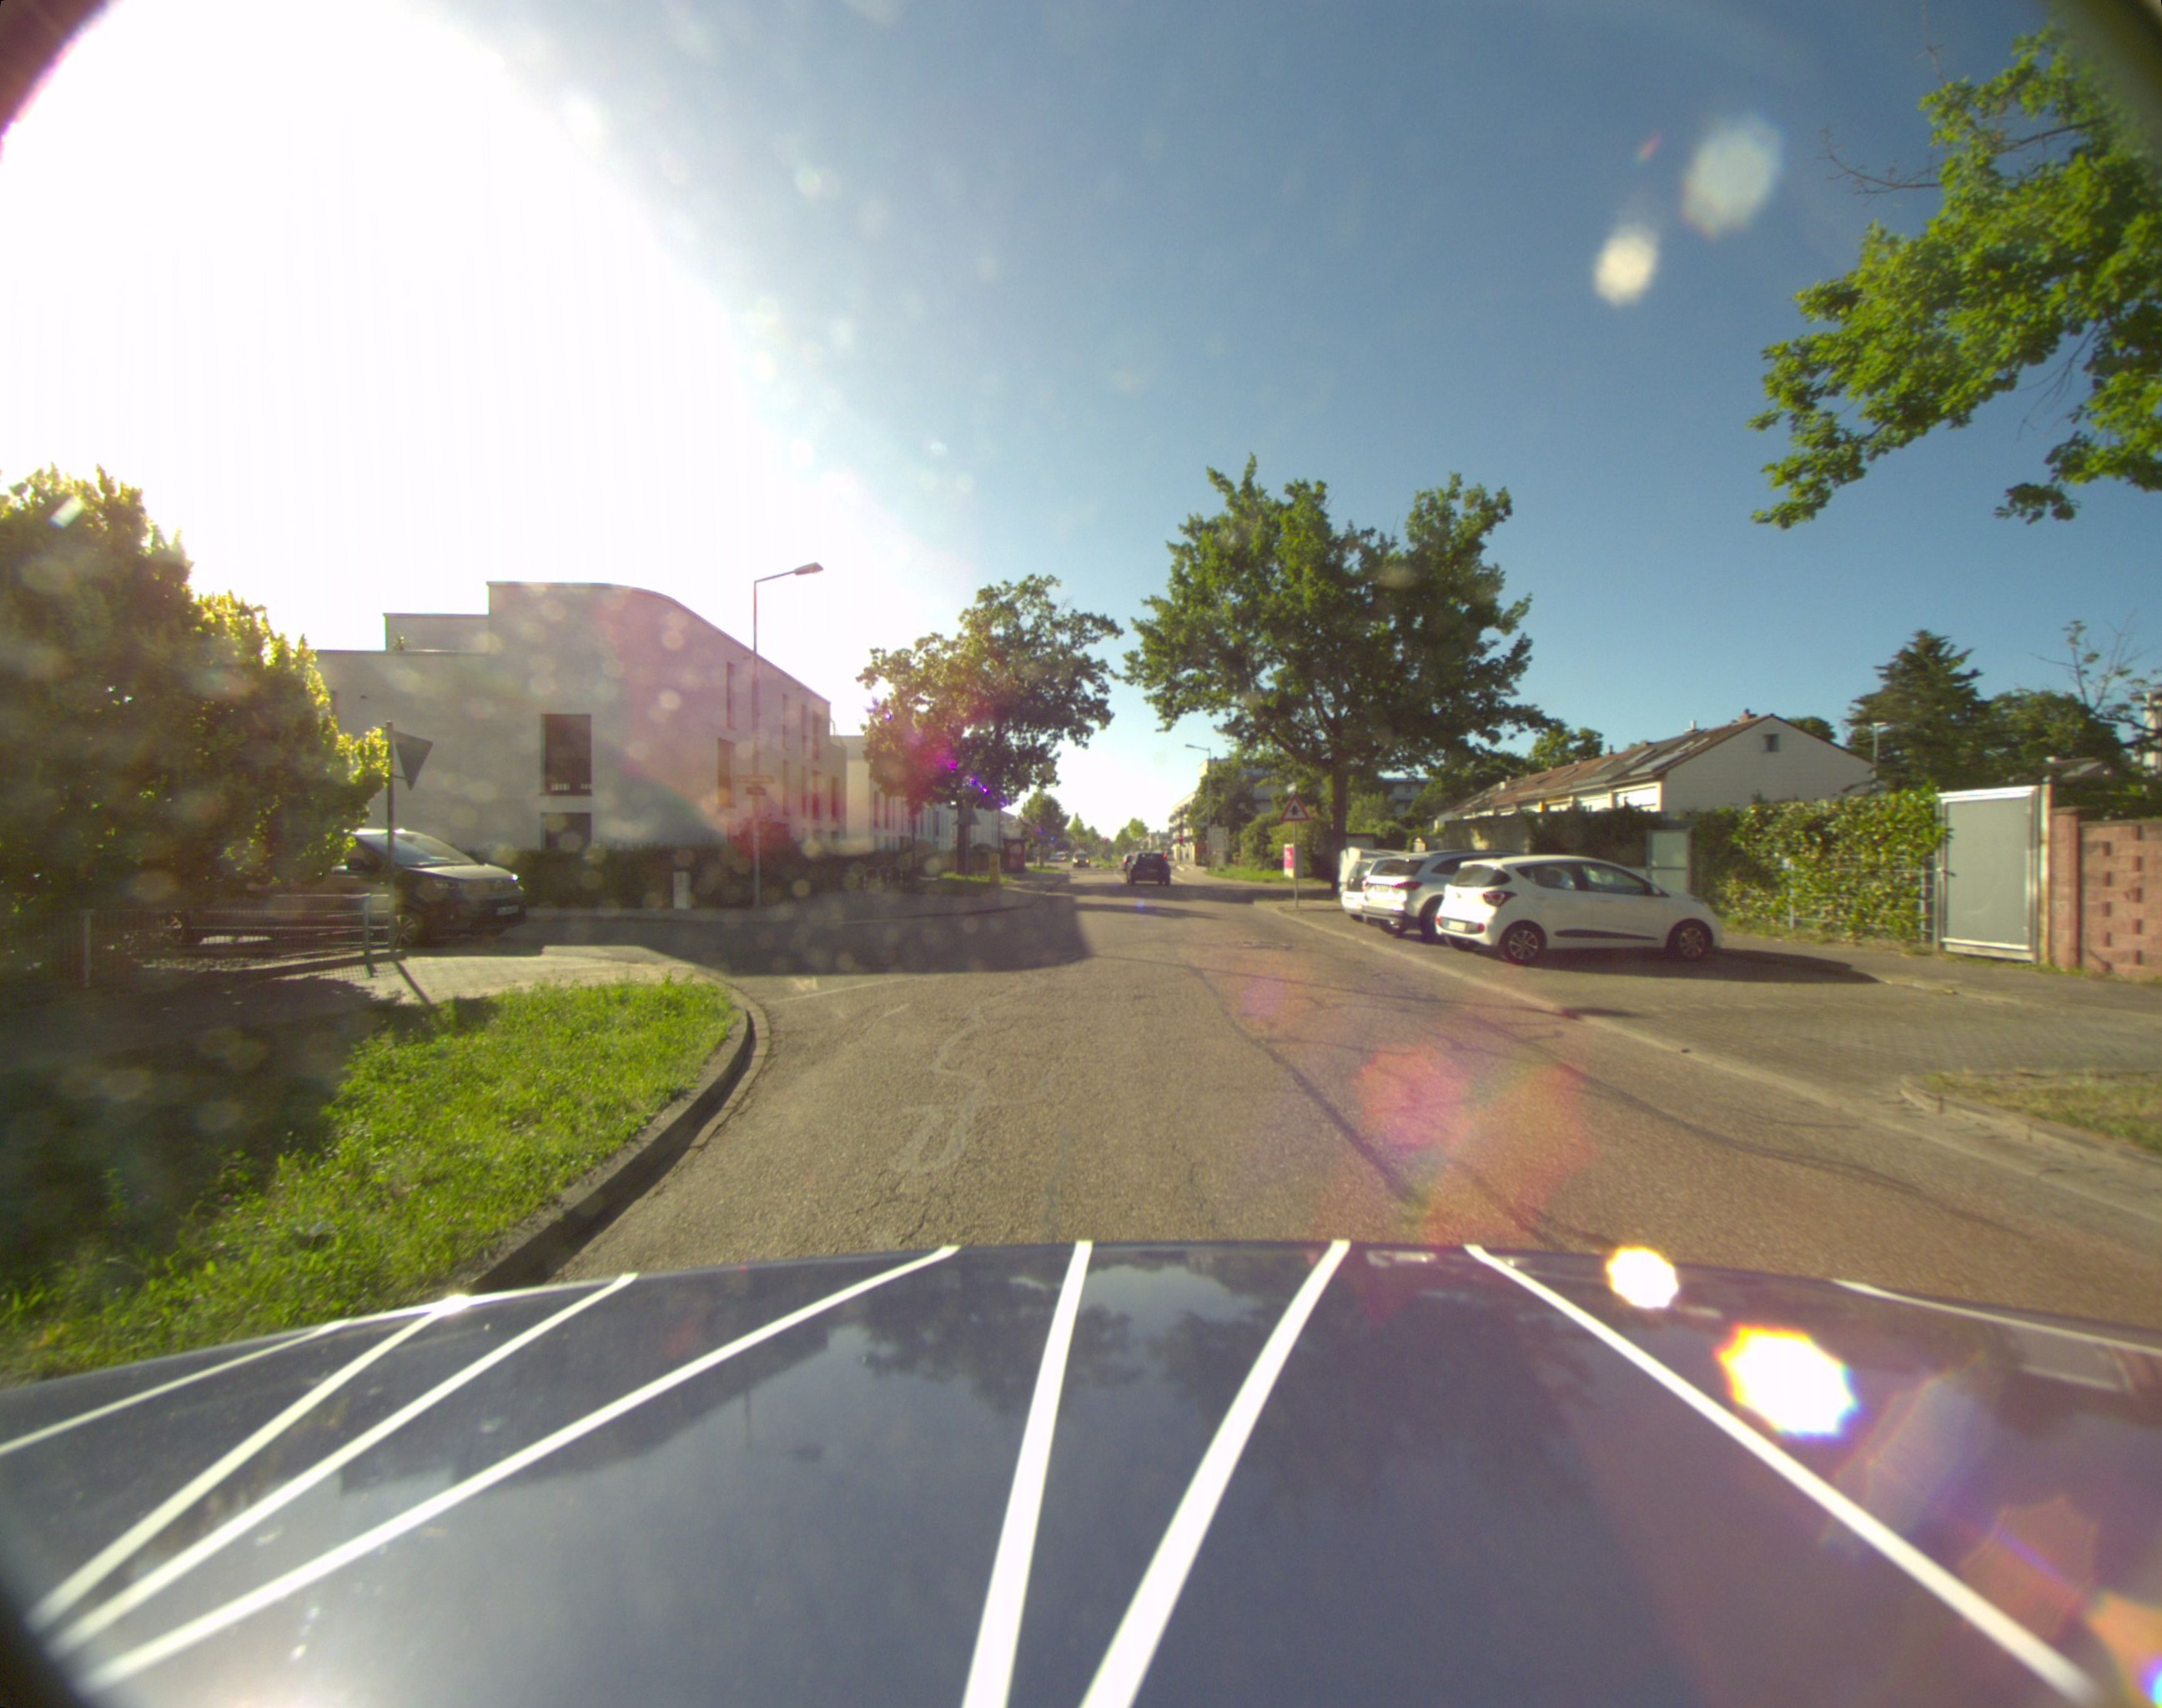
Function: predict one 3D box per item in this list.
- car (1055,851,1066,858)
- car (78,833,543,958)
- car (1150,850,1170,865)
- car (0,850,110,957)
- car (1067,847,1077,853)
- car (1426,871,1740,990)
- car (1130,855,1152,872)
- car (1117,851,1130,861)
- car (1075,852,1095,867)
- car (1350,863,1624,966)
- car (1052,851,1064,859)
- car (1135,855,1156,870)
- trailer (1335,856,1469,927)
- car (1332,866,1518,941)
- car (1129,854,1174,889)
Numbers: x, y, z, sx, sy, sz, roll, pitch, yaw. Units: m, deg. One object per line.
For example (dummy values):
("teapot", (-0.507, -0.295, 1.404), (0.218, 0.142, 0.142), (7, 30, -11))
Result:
("car", (-3.845, 0.030, 142.576), (1.830, 1.324, 3.678), (1, 1, 4))
("car", (-11.900, 0.597, 12.085), (5.208, 1.805, 1.912), (0, 2, -4))
("car", (8.112, 0.318, 78.110), (1.765, 1.469, 3.851), (-2, 0, 2))
("car", (-18.001, 0.730, 11.697), (3.558, 1.594, 1.912), (0, 1, -1))
("car", (-1.940, -0.835, 160.329), (1.830, 1.324, 3.677), (1, 1, 4))
("car", (7.218, 1.056, 11.183), (3.523, 1.487, 1.707), (-1, 2, -2))
("car", (5.056, 0.766, 64.554), (1.765, 1.390, 4.000), (1, 0, 2))
("car", (6.419, 0.279, 115.864), (1.878, 1.470, 3.850), (1, 1, 1))
("car", (0.444, 0.563, 79.743), (1.878, 1.470, 3.850), (1, 1, 2))
("car", (7.175, 1.009, 13.686), (3.965, 1.565, 1.920), (-1, 2, -6))
("car", (-4.042, 0.179, 134.989), (1.944, 1.412, 4.000), (1, 1, 2))
("car", (6.053, 0.816, 71.230), (1.765, 1.389, 3.852), (-1, -1, 2))
("trailer", (7.950, 0.912, 18.957), (2.767, 1.638, 1.298), (0, 3, -4))
("car", (7.363, 1.037, 16.499), (3.303, 1.470, 1.615), (-1, 2, 1))
("car", (3.248, 0.791, 35.692), (1.742, 1.531, 3.947), (1, 0, 1))
